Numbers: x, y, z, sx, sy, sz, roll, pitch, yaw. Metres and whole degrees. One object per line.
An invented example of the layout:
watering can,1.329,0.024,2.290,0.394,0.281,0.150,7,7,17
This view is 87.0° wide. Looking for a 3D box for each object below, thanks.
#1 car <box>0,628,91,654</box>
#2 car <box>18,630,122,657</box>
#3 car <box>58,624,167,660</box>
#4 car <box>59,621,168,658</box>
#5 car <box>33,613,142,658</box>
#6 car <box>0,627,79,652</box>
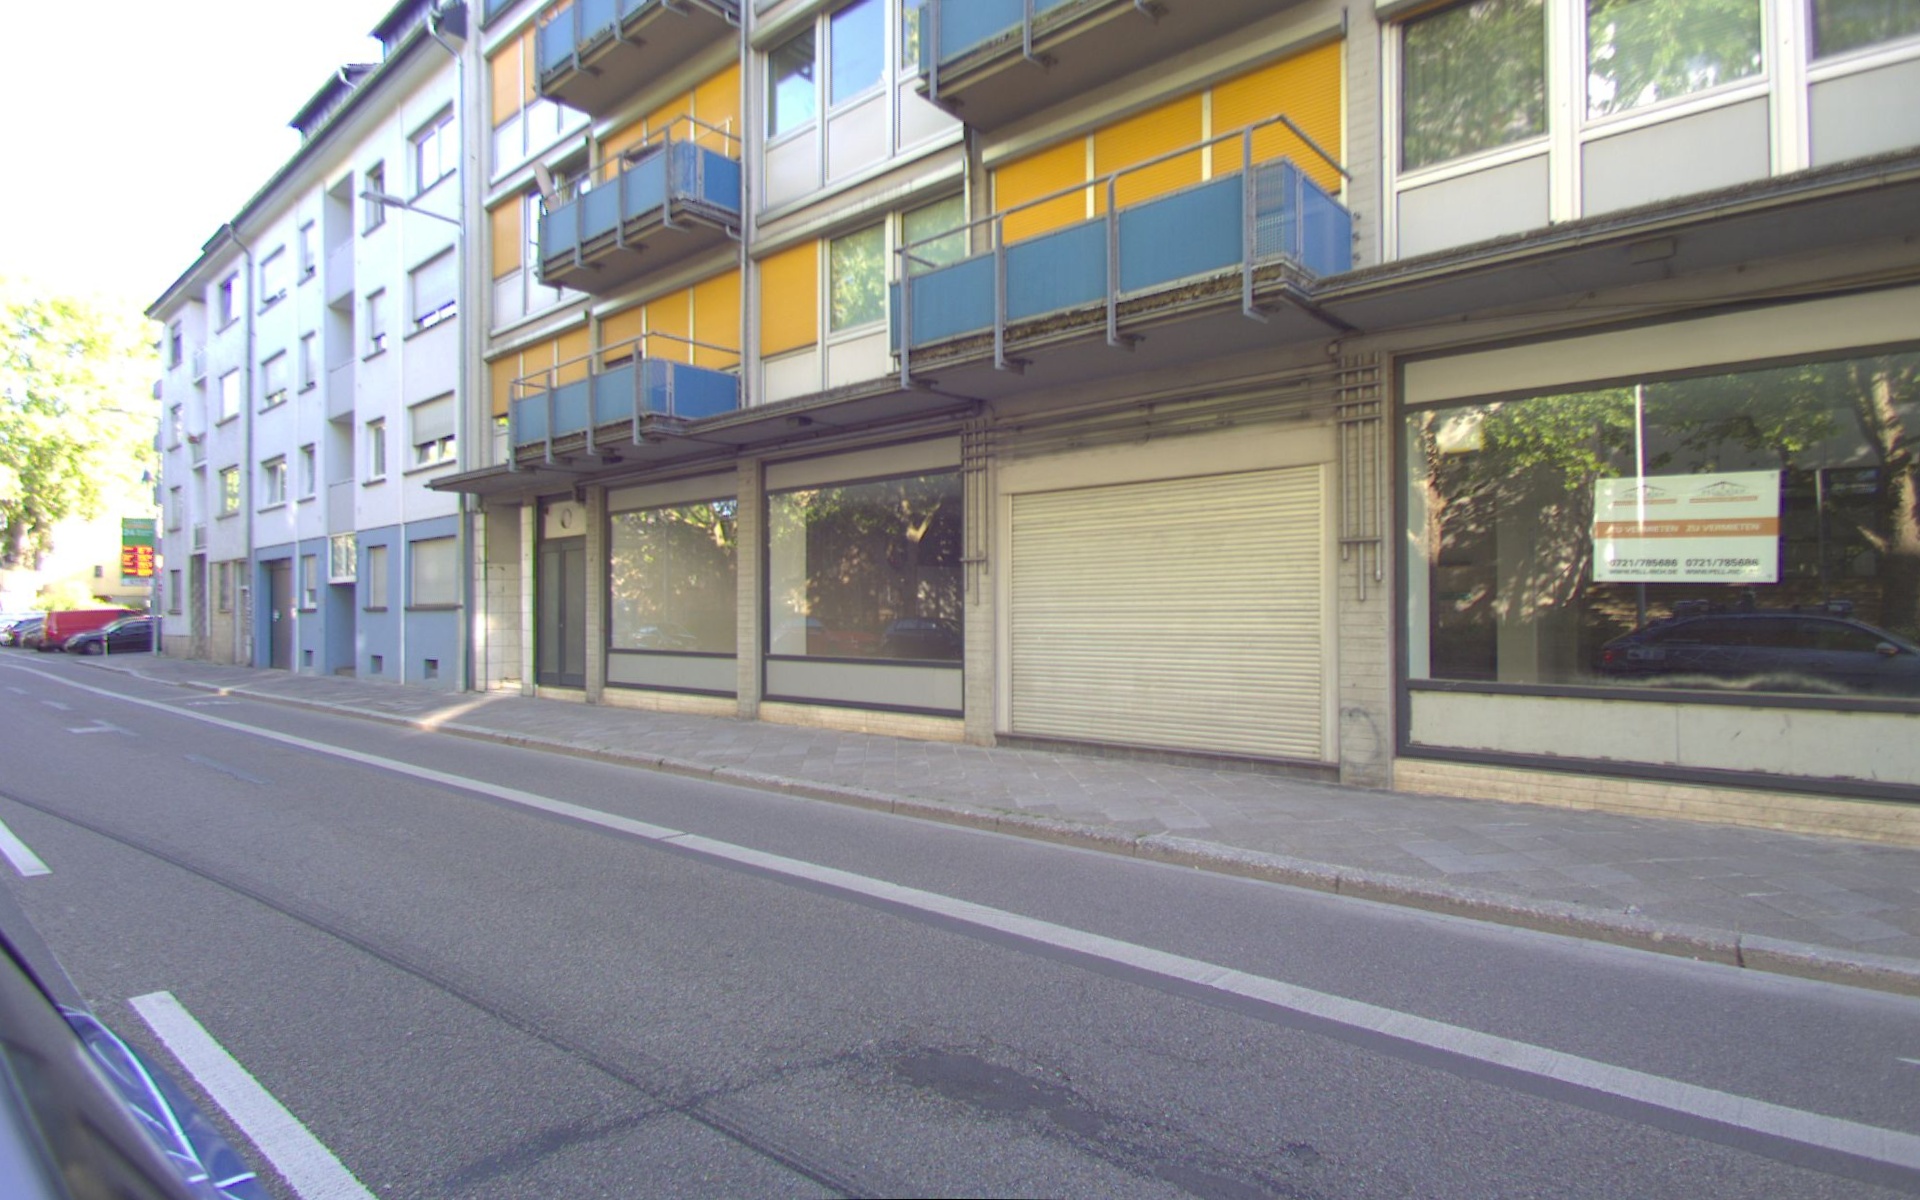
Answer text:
car,-50.454,2.229,55.877,1.345,1.254,3.638,-1,0,43
car,-42.822,2.062,48.741,1.345,1.137,3.638,-1,0,43
car,-36.684,1.799,43.846,1.490,1.398,3.462,-1,0,43
car,-38.200,1.756,45.727,1.490,1.523,3.638,-1,0,43
car,-40.660,1.636,47.226,1.488,1.923,3.642,-4,-2,39
car,-52.269,2.236,57.507,1.345,1.254,3.228,-1,0,43
